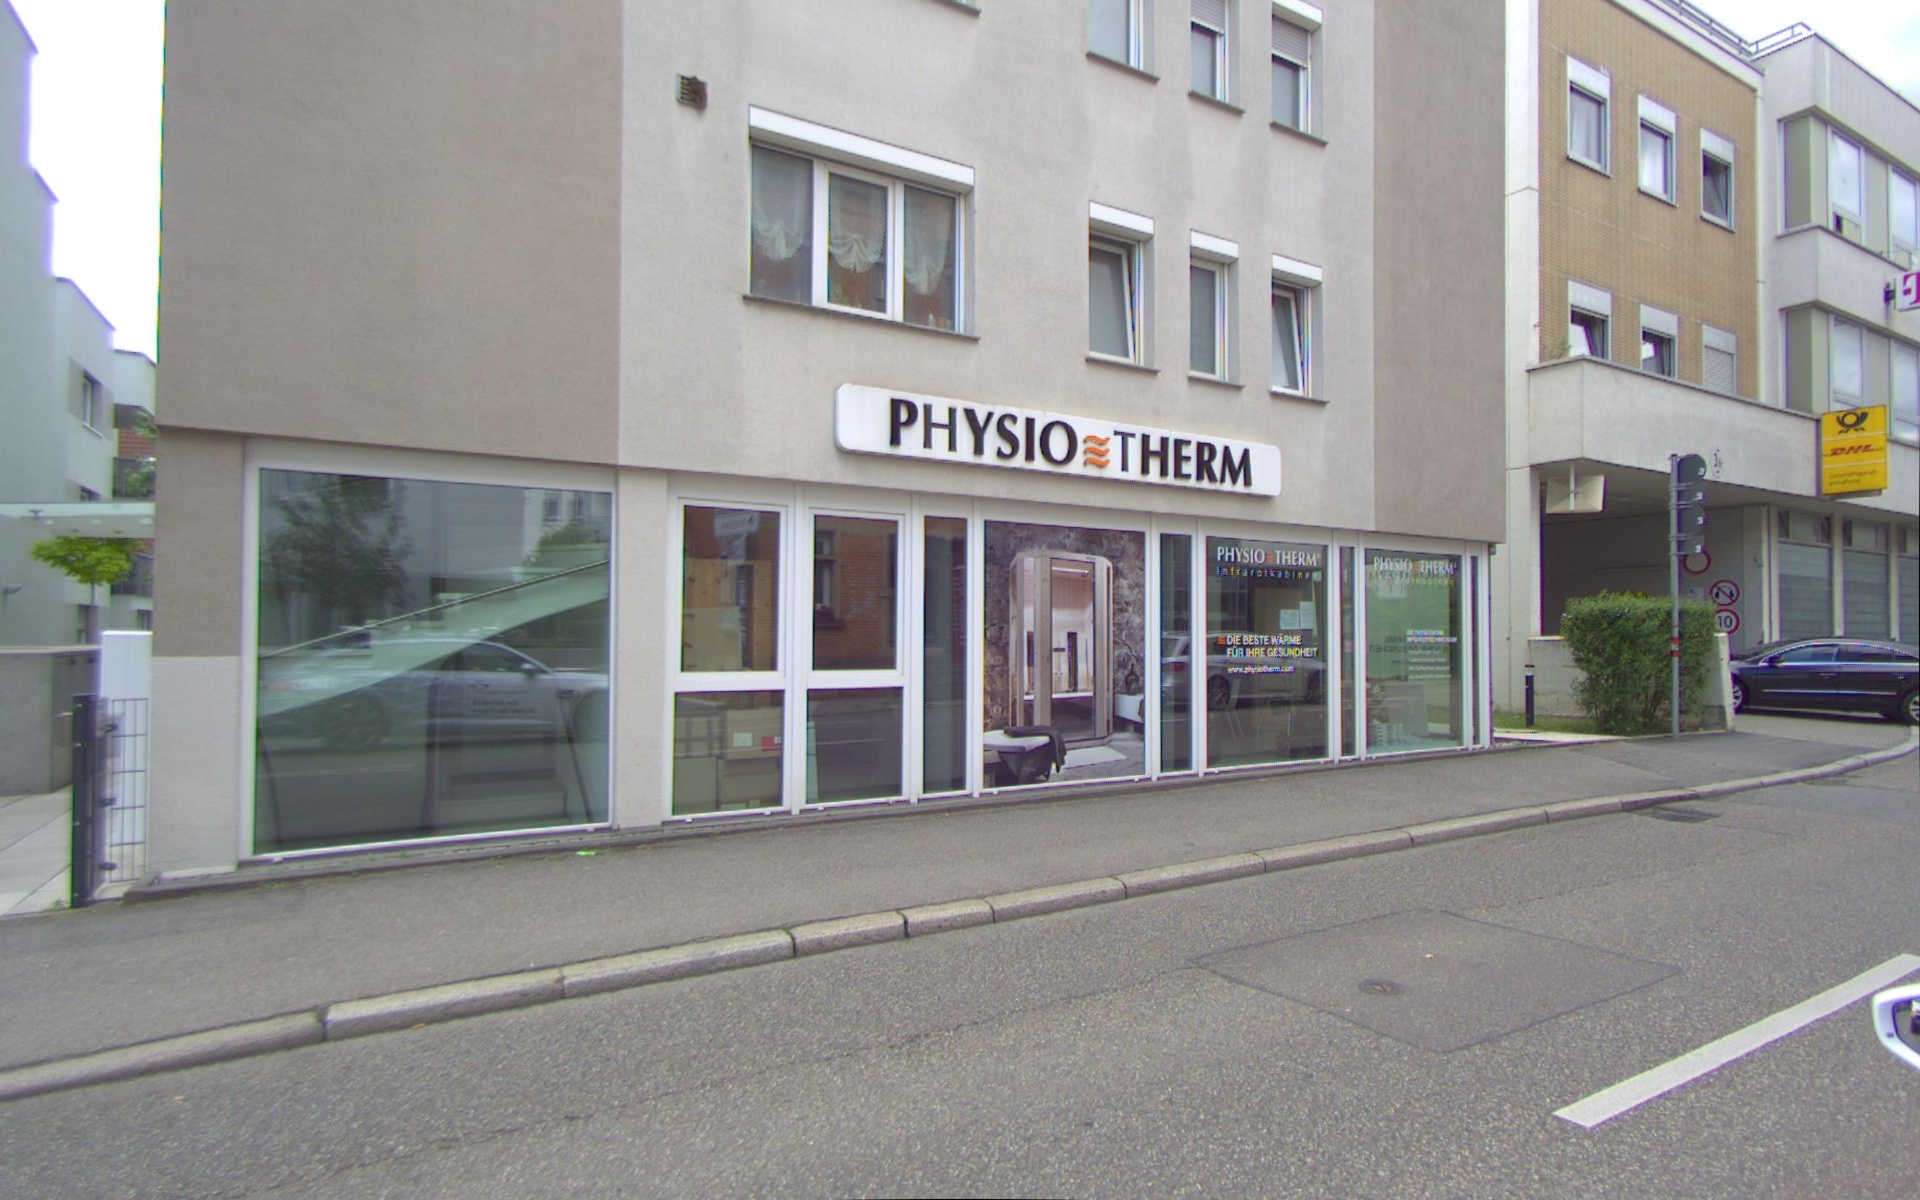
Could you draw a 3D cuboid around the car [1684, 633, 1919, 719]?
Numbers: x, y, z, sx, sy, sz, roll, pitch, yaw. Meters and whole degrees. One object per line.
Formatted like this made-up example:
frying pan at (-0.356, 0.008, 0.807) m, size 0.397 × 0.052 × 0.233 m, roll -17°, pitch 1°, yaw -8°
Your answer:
car at (15.384, 1.275, 17.486) m, size 4.335 × 1.384 × 1.782 m, roll -1°, pitch -2°, yaw 31°
